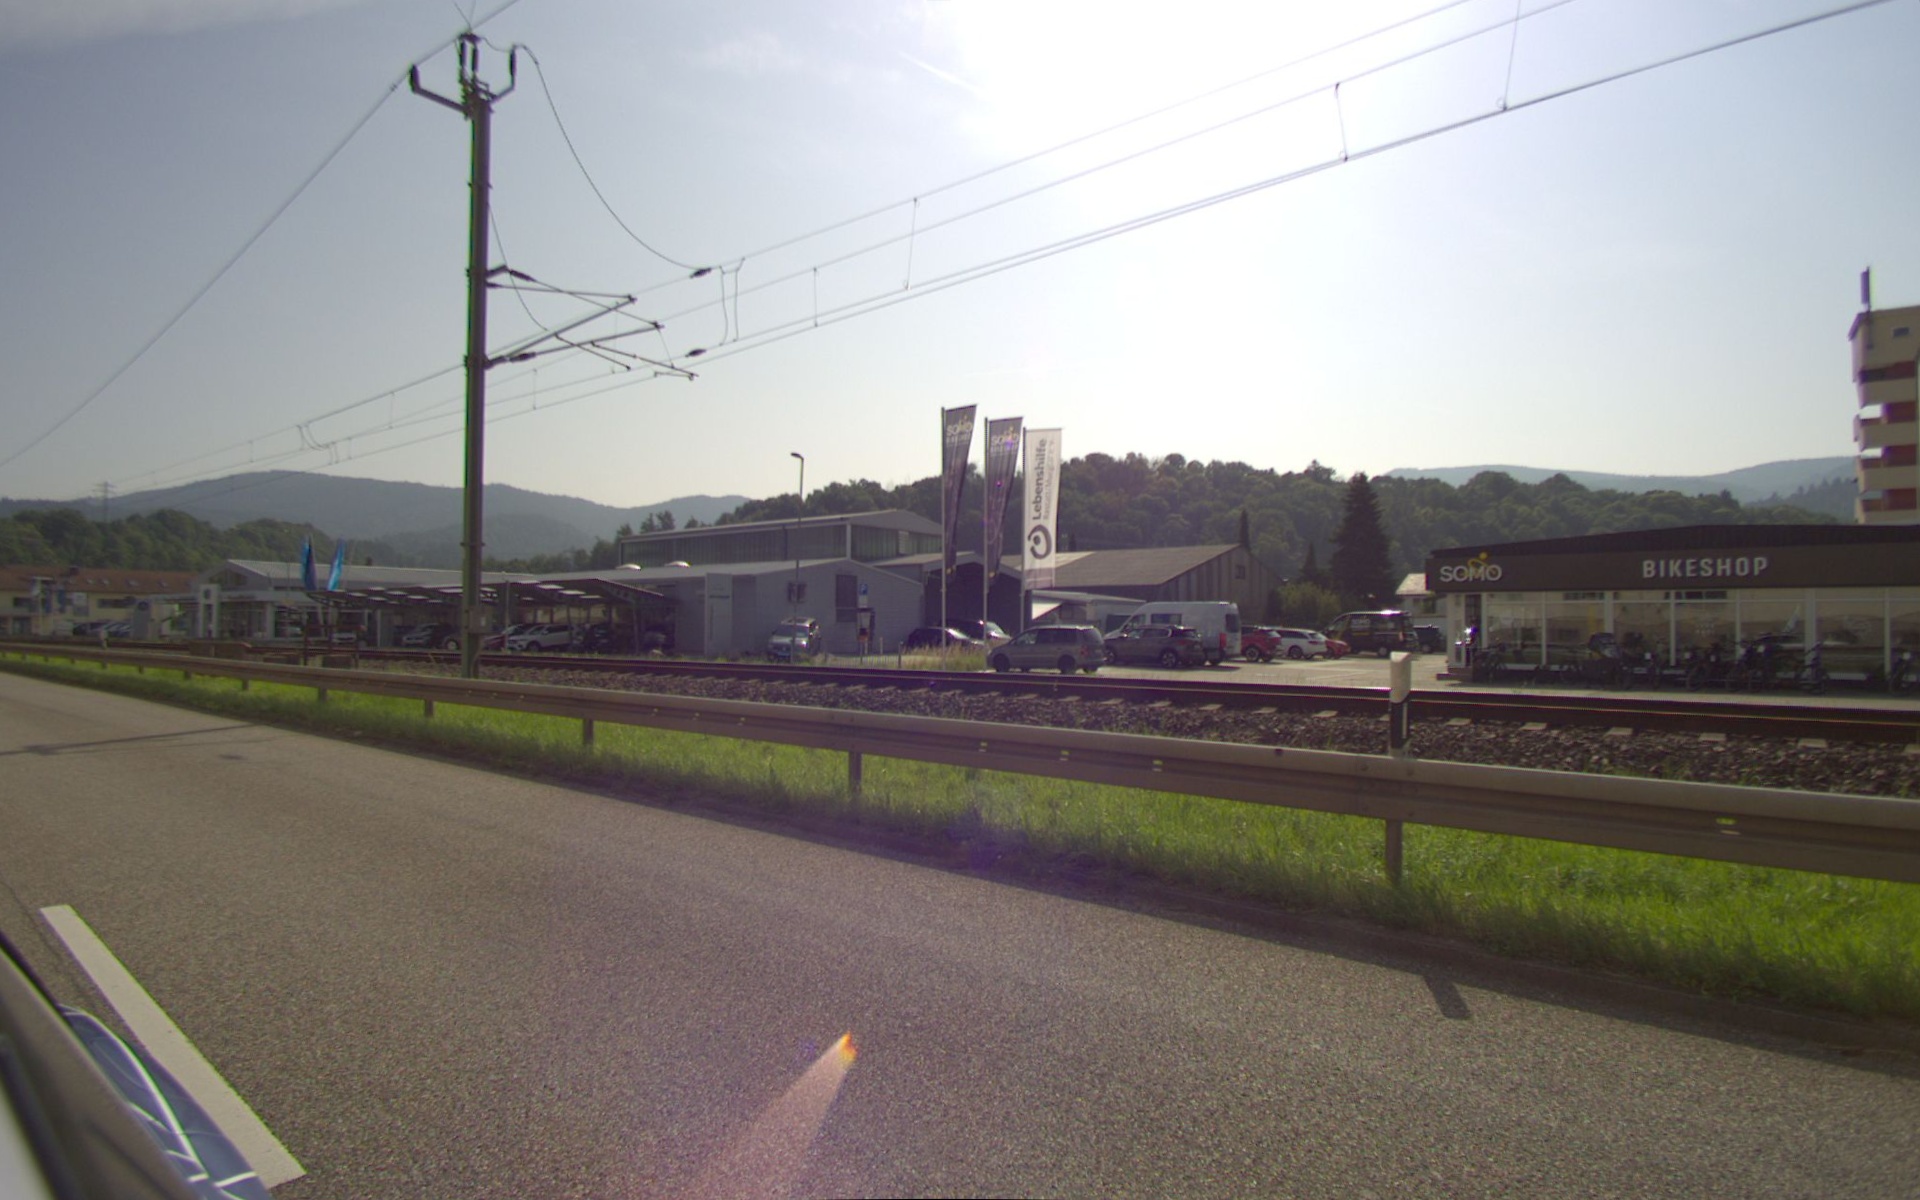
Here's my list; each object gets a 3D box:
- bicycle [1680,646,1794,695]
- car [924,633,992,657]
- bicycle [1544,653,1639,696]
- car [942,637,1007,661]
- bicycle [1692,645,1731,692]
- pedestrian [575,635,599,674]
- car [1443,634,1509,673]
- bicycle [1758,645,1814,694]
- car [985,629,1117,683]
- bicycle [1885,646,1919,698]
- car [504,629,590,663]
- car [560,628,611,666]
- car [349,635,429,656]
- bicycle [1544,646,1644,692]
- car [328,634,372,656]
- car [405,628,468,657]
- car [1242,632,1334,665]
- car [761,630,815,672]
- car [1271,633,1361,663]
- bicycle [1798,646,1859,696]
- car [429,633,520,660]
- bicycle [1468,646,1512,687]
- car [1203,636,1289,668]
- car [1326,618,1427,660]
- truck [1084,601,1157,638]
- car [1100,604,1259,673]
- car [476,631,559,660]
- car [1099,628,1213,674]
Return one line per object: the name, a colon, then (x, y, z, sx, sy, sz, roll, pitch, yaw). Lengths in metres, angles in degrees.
bicycle: (19.073, 1.711, 24.884, 2.171, 1.139, 0.721, -1, -2, 38)
car: (-0.115, 2.421, 54.442, 3.475, 1.278, 1.441, -2, -3, 32)
bicycle: (17.735, 2.073, 28.447, 2.174, 1.139, 0.720, -1, -3, 42)
car: (0.822, 2.774, 57.218, 3.475, 1.308, 1.441, -2, -3, 32)
bicycle: (19.641, 1.767, 26.437, 0.729, 1.139, 2.146, -1, -3, 39)
pedestrian: (-17.218, 2.514, 46.772, 0.823, 1.747, 0.805, 0, -2, -5)
car: (22.515, 2.306, 44.107, 1.746, 1.613, 3.946, -2, -3, 40)
bicycle: (20.836, 1.729, 25.569, 0.727, 1.139, 2.152, -1, -2, 30)
car: (3.086, 1.863, 34.672, 4.362, 1.701, 1.505, -1, -1, 37)
bicycle: (22.125, 1.650, 23.303, 0.727, 1.139, 2.152, -1, -2, 30)
car: (-21.949, 2.423, 53.850, 1.660, 1.539, 3.920, -2, 0, 37)
car: (-18.866, 2.344, 51.094, 1.636, 1.634, 4.039, -2, 0, -9)
car: (-36.996, 2.928, 65.620, 4.146, 1.352, 1.848, 0, -2, -3)
bicycle: (16.723, 1.802, 26.779, 0.718, 1.139, 2.329, 1, -2, -16)
car: (-41.463, 3.025, 68.862, 1.815, 1.396, 4.538, 1, -2, -22)
car: (-32.506, 2.630, 62.973, 1.820, 1.539, 4.273, -2, 0, -2)
car: (16.249, 2.372, 50.218, 4.068, 1.553, 1.562, -1, -3, 41)
car: (-7.750, 2.276, 45.876, 1.504, 1.541, 3.996, 0, 3, 4)
car: (18.366, 2.442, 52.299, 4.068, 1.453, 1.562, -1, -3, 41)
bicycle: (21.554, 1.740, 25.164, 0.727, 1.139, 2.152, -1, -2, 30)
car: (-28.007, 2.660, 58.483, 4.373, 1.517, 1.847, 0, -2, 1)
bicycle: (15.535, 1.927, 29.658, 0.729, 1.139, 2.146, -1, -3, 39)
car: (13.066, 2.367, 46.328, 3.519, 1.368, 1.499, -1, -3, 41)
car: (22.899, 2.128, 55.730, 4.760, 2.228, 1.973, -1, -3, 41)
truck: (11.134, 1.328, 70.421, 4.634, 2.443, 1.975, 0, -2, 36)
car: (9.208, 1.541, 42.723, 6.151, 2.653, 2.350, 1, -1, 38)
car: (-24.090, 2.478, 55.201, 1.499, 1.335, 3.920, -2, 0, 36)
car: (7.706, 1.968, 39.887, 3.993, 1.676, 1.850, 0, -2, 37)
